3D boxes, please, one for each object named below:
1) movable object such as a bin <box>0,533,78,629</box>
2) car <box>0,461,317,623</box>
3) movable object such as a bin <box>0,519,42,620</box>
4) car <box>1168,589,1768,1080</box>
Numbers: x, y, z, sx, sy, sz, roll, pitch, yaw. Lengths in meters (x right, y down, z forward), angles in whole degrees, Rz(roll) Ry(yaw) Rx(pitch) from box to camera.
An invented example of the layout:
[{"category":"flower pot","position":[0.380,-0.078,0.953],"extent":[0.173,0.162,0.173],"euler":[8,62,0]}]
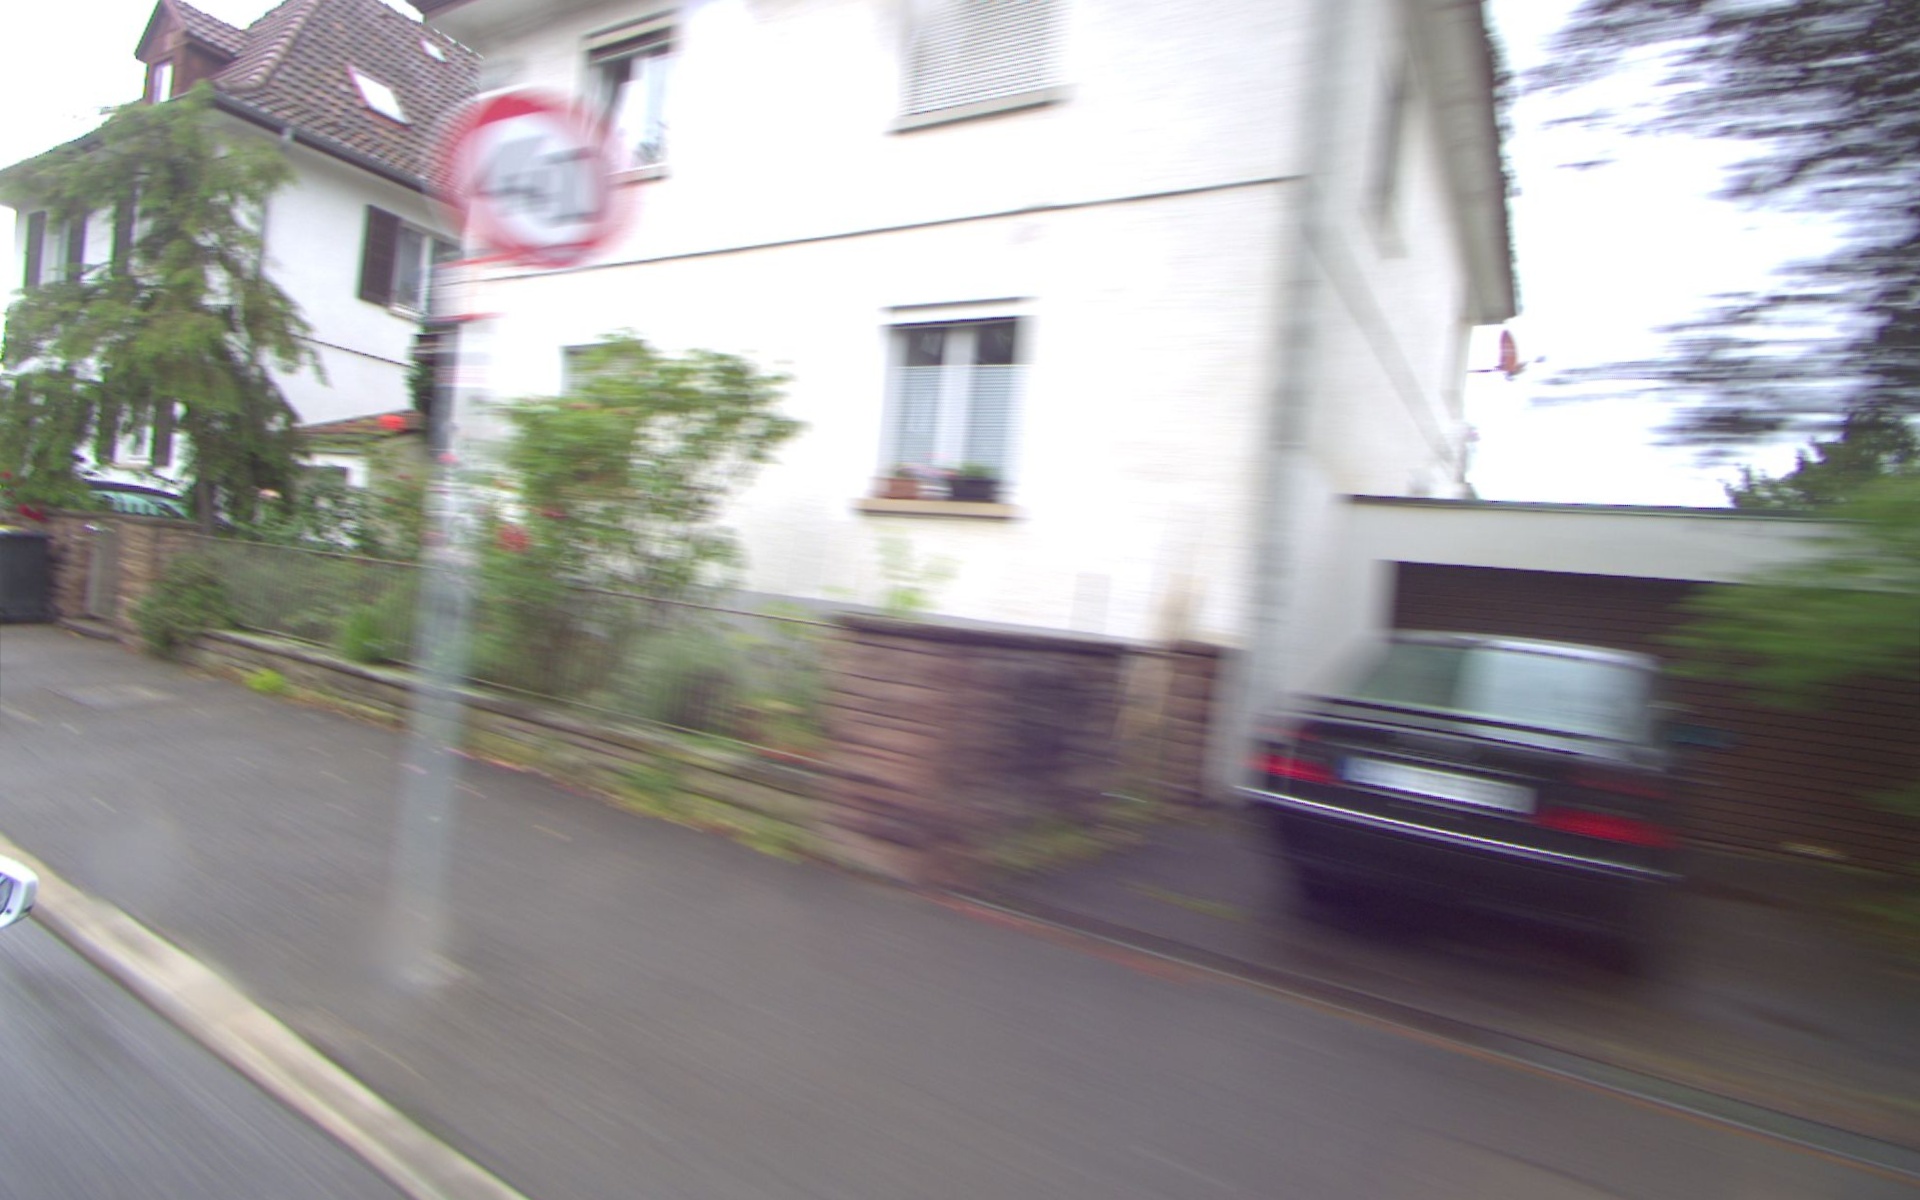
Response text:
[{"category":"movable object such as a bin","position":[-9.248,-0.193,9.905],"extent":[0.494,0.866,0.652],"euler":[9,1,30]},{"category":"car","position":[-11.253,-0.775,13.403],"extent":[1.886,1.659,3.993],"euler":[9,0,31]},{"category":"movable object such as a bin","position":[-9.740,-0.330,10.147],"extent":[0.494,0.967,0.495],"euler":[9,1,30]},{"category":"car","position":[2.908,0.906,5.462],"extent":[1.947,1.503,4.149],"euler":[3,-3,35]}]
